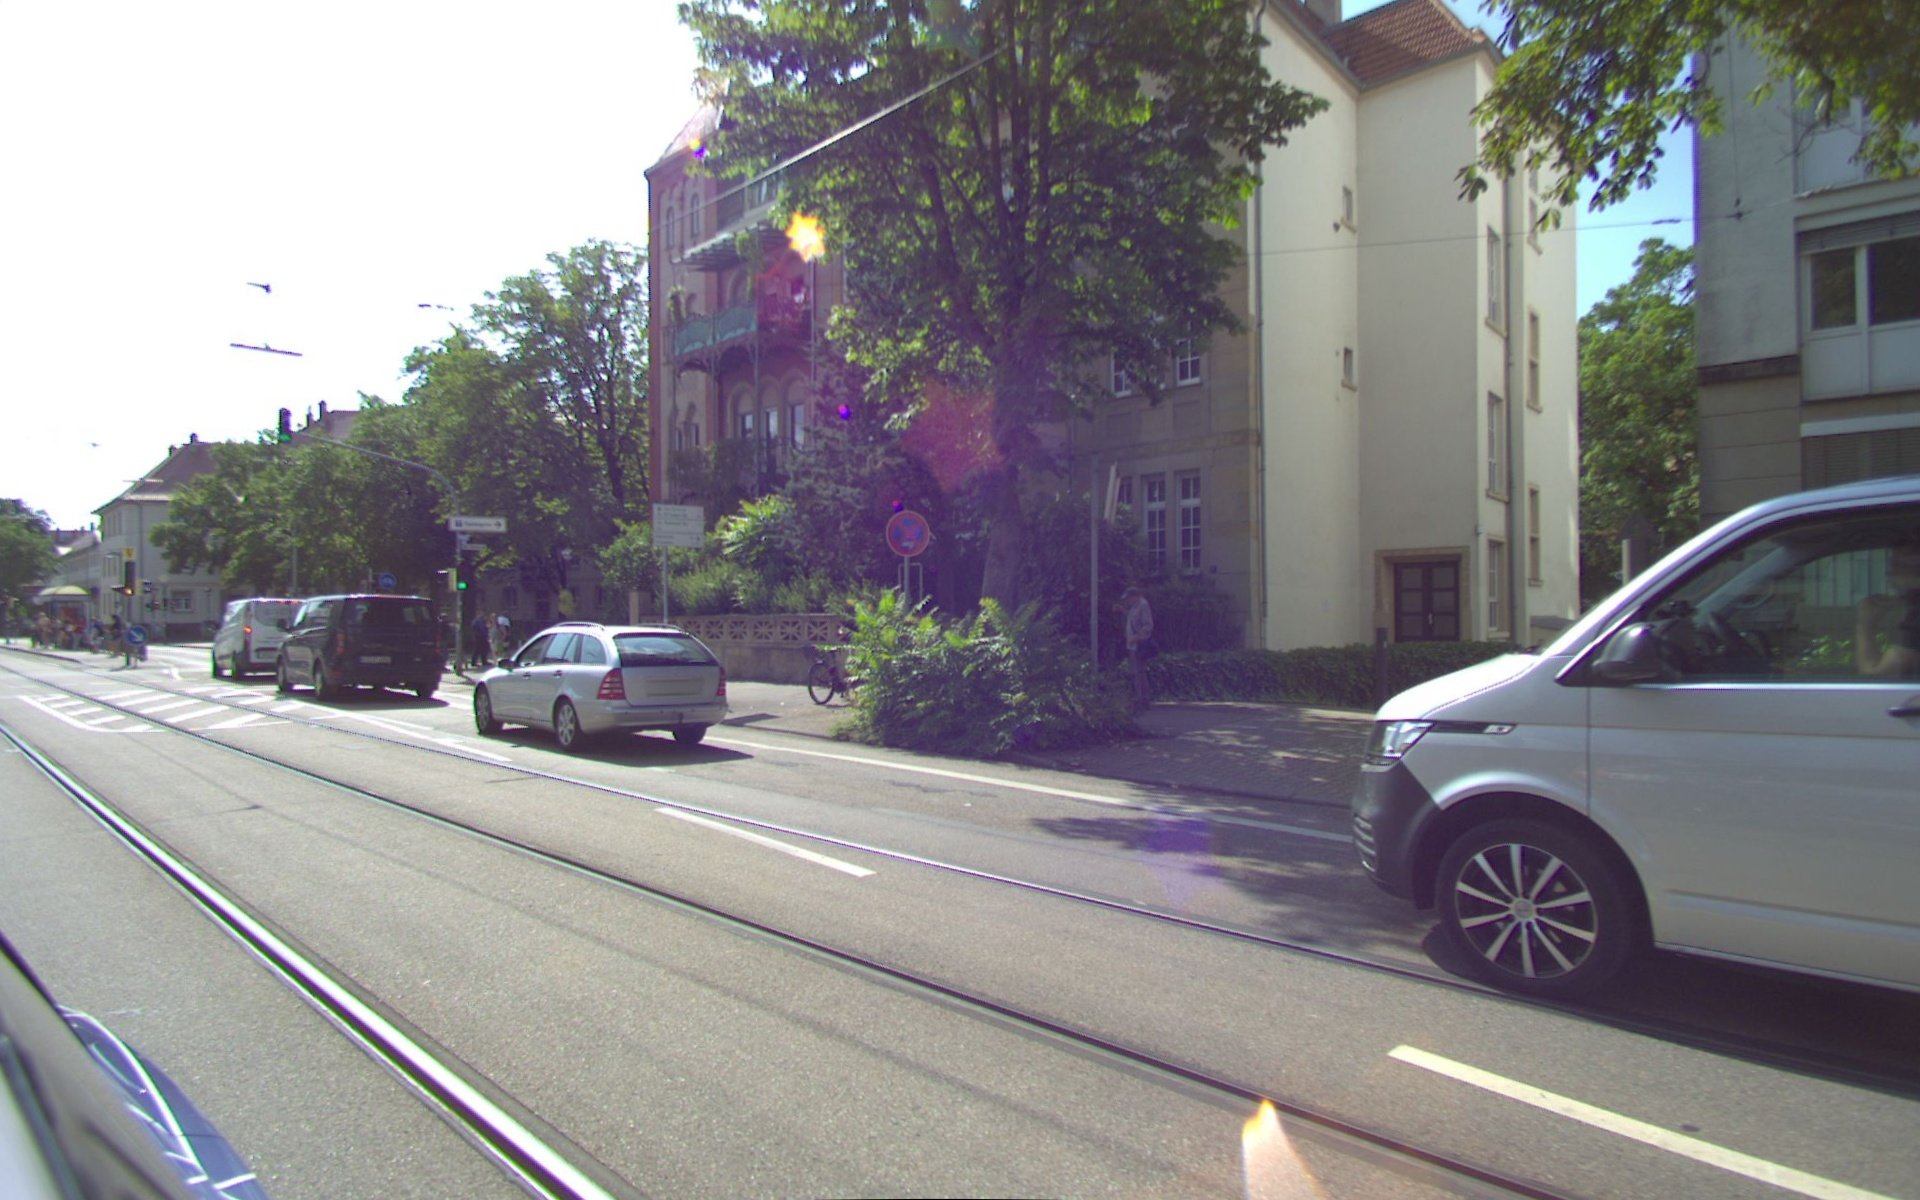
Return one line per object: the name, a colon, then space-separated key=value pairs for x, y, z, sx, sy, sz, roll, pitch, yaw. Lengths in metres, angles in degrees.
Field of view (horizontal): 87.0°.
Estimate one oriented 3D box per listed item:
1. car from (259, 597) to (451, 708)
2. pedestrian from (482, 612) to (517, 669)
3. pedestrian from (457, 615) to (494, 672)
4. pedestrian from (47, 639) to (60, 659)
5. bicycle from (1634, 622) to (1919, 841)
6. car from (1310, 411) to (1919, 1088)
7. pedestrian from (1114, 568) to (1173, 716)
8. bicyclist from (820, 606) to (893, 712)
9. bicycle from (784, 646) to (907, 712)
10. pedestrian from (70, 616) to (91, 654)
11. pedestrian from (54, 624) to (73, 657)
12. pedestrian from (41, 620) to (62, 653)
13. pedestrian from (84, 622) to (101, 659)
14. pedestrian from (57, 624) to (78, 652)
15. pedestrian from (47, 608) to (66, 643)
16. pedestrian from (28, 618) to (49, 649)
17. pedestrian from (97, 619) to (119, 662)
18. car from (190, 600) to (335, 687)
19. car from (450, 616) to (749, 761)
car: x=-12.097 y=0.978 z=20.064 sx=5.124 sy=1.932 sz=1.906 roll=-1 pitch=-3 yaw=43
pedestrian: x=-13.954 y=1.229 z=30.661 sx=0.723 sy=1.669 sz=0.607 roll=-3 pitch=0 yaw=29
pedestrian: x=-14.941 y=1.334 z=31.226 sx=0.846 sy=1.711 sz=0.618 roll=-1 pitch=1 yaw=30
pedestrian: x=-44.121 y=2.392 z=49.251 sx=0.345 sy=0.937 sz=0.336 roll=0 pitch=-3 yaw=36
bicycle: x=5.992 y=0.864 z=7.499 sx=0.612 sy=1.319 sz=2.056 roll=-1 pitch=1 yaw=1
car: x=4.005 y=0.448 z=3.155 sx=1.963 sy=1.978 sz=5.182 roll=3 pitch=-3 yaw=-45
pedestrian: x=2.605 y=0.576 z=14.440 sx=0.477 sy=2.029 sz=0.808 roll=-2 pitch=1 yaw=-15
bicyclist: x=-1.709 y=0.940 z=16.706 sx=0.701 sy=1.657 sz=0.940 roll=-1 pitch=1 yaw=41
bicycle: x=-1.911 y=1.276 z=16.759 sx=1.859 sy=0.940 sz=0.988 roll=-2 pitch=2 yaw=41
pedestrian: x=-39.910 y=1.599 z=45.918 sx=0.746 sy=1.669 sz=0.467 roll=-1 pitch=-7 yaw=42
pedestrian: x=-41.363 y=1.862 z=46.676 sx=0.691 sy=1.468 sz=0.523 roll=-1 pitch=-3 yaw=41
pedestrian: x=-45.768 y=1.833 z=50.961 sx=0.638 sy=1.654 sz=0.648 roll=-1 pitch=-4 yaw=42
pedestrian: x=-35.986 y=1.670 z=41.983 sx=0.704 sy=1.515 sz=0.423 roll=-1 pitch=-3 yaw=42
pedestrian: x=-43.021 y=1.820 z=48.785 sx=0.405 sy=1.347 sz=0.597 roll=0 pitch=-3 yaw=36
pedestrian: x=-44.085 y=1.232 z=49.387 sx=0.677 sy=1.682 sz=0.492 roll=0 pitch=-3 yaw=37
pedestrian: x=-48.518 y=1.781 z=53.271 sx=0.637 sy=1.619 sz=0.649 roll=0 pitch=-3 yaw=36
pedestrian: x=-31.065 y=1.489 z=36.900 sx=0.516 sy=1.554 sz=0.531 roll=-4 pitch=-4 yaw=42
car: x=-17.828 y=1.075 z=25.759 sx=5.088 sy=2.010 sz=1.972 roll=-2 pitch=-2 yaw=43
car: x=-4.618 y=0.998 z=12.570 sx=4.483 sy=1.491 sz=1.673 roll=-2 pitch=-4 yaw=44
